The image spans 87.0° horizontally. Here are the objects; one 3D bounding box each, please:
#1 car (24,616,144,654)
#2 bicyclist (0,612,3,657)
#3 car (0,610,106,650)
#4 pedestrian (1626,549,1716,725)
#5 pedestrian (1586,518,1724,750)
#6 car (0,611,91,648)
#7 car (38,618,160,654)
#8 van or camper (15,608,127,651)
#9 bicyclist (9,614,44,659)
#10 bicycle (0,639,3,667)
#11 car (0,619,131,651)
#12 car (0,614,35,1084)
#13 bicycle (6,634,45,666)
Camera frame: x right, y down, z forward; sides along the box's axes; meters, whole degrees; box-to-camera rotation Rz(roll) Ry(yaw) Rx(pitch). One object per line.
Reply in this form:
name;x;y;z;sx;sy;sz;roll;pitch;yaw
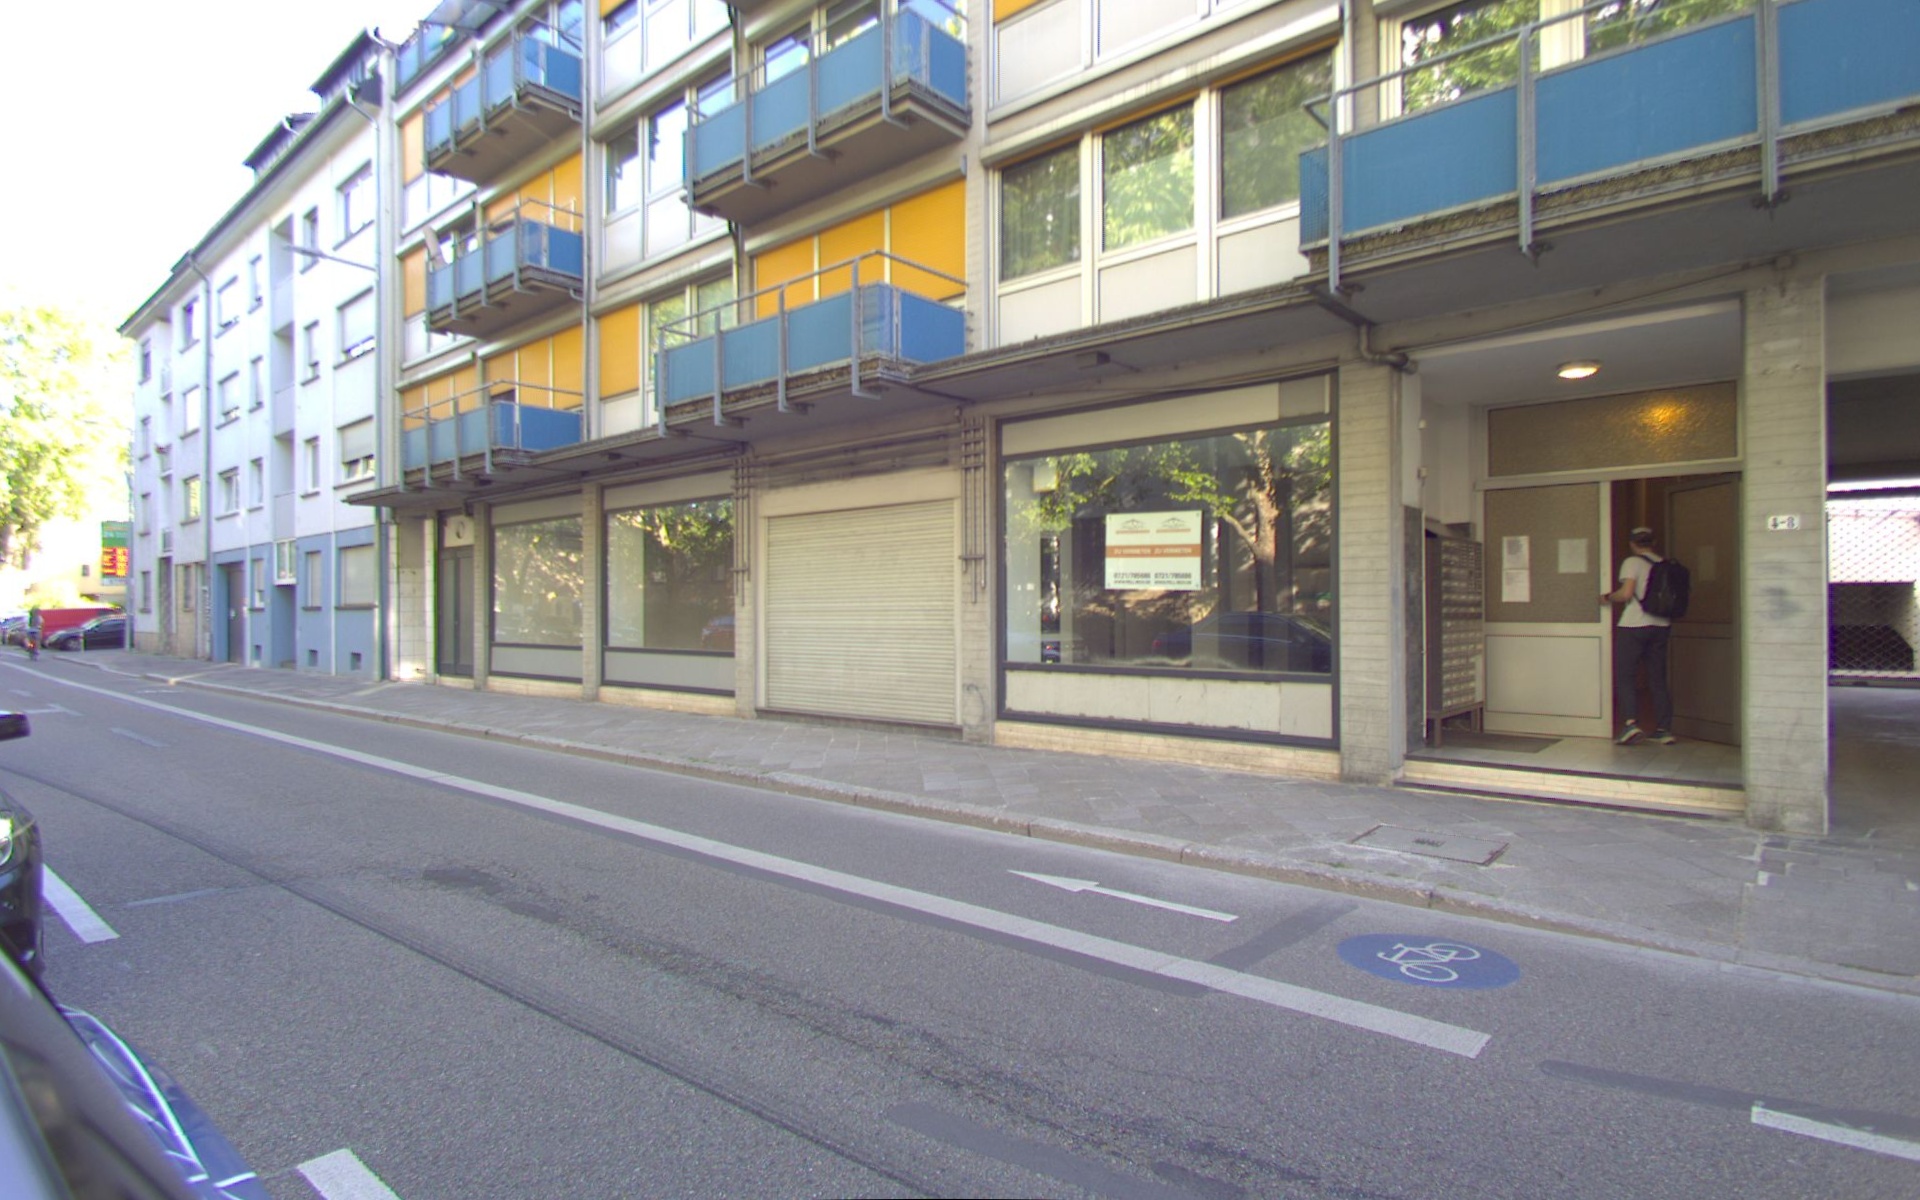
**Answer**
car;-41.630;1.625;48.172;1.999;1.703;4.093;-1;-1;41
bicyclist;-33.957;1.213;35.388;0.982;1.590;0.677;-2;-1;44
car;-53.311;1.743;59.206;1.999;2.210;4.927;-1;-1;41
pedestrian;7.274;0.366;10.359;0.662;1.726;0.541;-1;-1;43
pedestrian;5.769;0.267;8.401;0.878;1.813;0.593;-1;0;38
car;-57.392;1.829;62.867;1.999;2.210;4.927;-1;-1;41
car;-39.750;1.637;46.787;1.999;1.506;4.093;-1;-1;41
van or camper;-43.886;1.436;50.014;1.999;2.029;3.946;-1;-1;40
bicyclist;-33.100;1.283;35.869;0.839;1.566;0.833;-1;-1;41
bicycle;-33.918;1.859;35.352;0.685;0.936;1.864;0;-1;-45
car;-45.719;1.756;51.706;1.999;1.506;4.927;-1;-1;41
car;-4.977;0.813;3.824;3.861;1.467;1.718;-1;-1;40
bicycle;-33.220;1.768;35.968;1.835;1.087;0.854;-1;0;41
